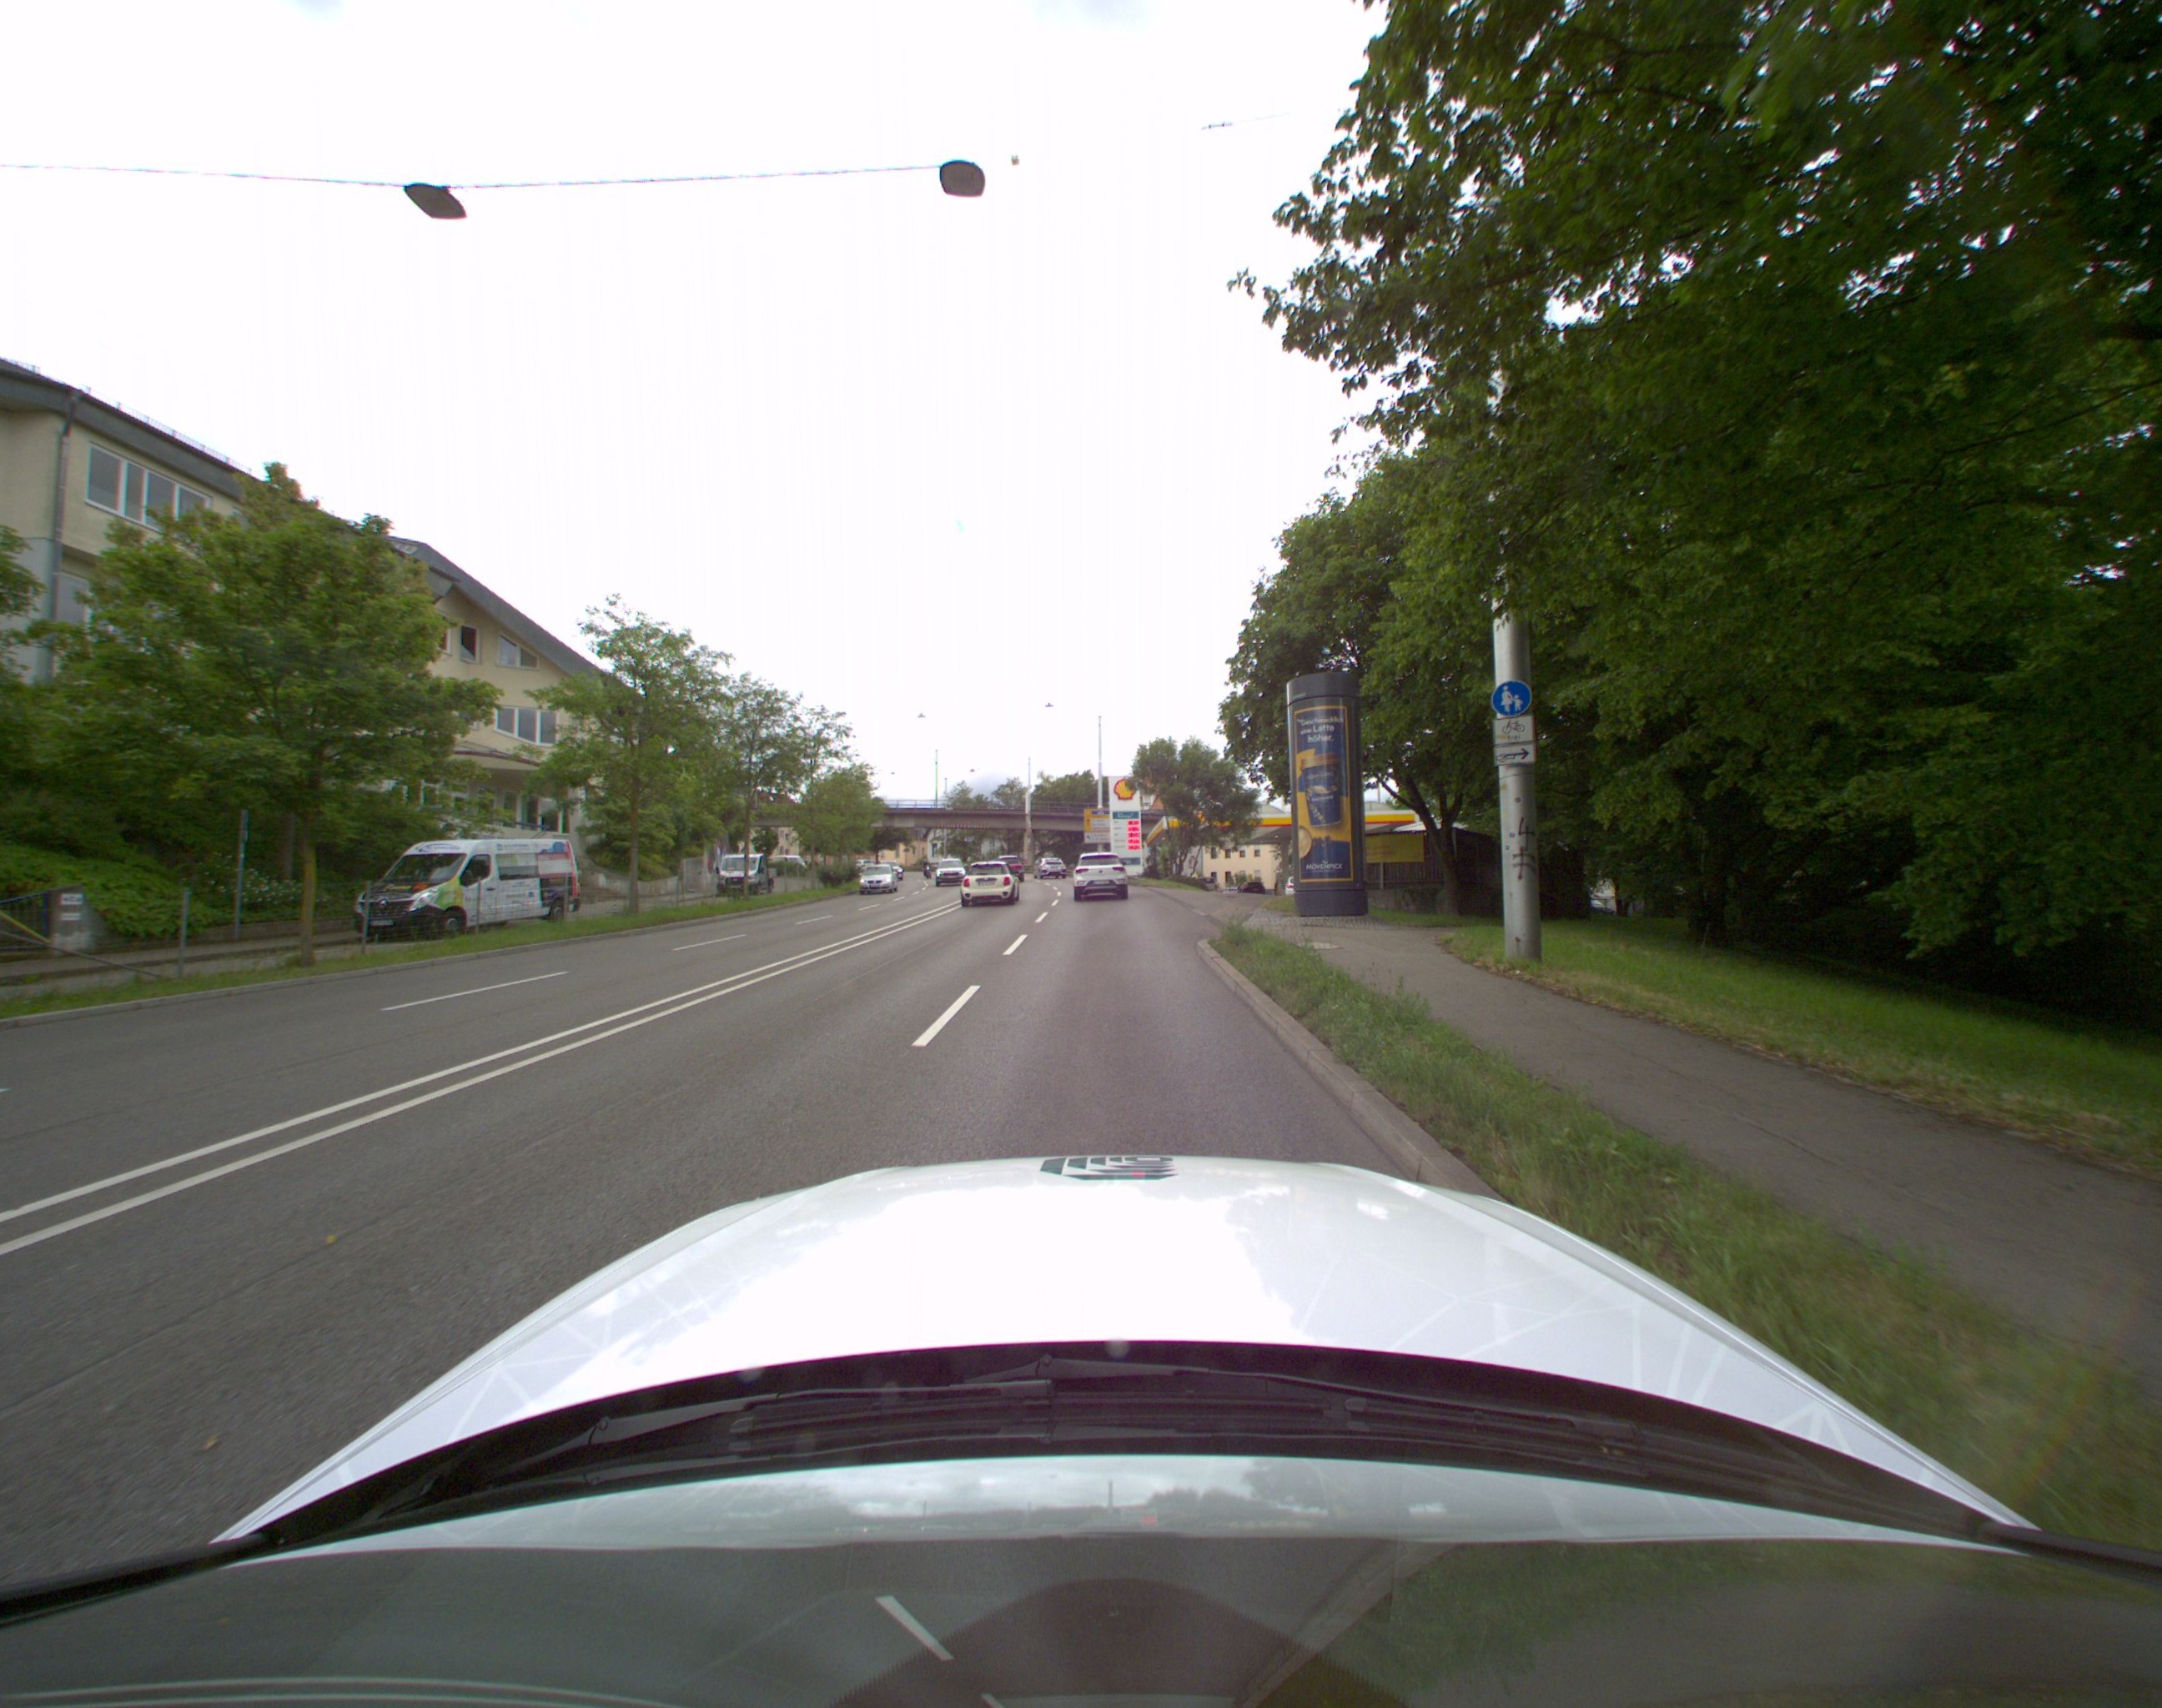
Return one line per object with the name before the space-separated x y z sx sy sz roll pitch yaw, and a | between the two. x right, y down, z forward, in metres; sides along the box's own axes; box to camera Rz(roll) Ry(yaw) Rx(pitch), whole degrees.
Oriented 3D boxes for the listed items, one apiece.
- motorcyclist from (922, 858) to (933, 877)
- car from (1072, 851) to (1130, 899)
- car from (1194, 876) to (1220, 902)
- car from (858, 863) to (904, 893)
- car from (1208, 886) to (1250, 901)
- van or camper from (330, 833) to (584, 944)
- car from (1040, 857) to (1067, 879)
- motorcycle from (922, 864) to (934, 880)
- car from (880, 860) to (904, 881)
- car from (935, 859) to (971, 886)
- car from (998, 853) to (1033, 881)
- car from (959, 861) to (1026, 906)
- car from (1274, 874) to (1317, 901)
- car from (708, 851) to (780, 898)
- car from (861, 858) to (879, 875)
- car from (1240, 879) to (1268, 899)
motorcyclist | -12.617 1.129 66.952 0.803 1.556 0.994 -1 0 -19
car | 0.690 0.681 27.513 1.790 1.519 3.458 -1 0 2
car | 10.551 2.959 68.579 1.728 2.011 4.716 -2 -4 4
car | -10.248 1.213 41.925 1.562 1.431 3.886 -1 0 -3
car | 16.609 4.442 91.405 4.249 1.522 1.634 1 -3 29
van or camper | -15.968 0.805 21.393 1.985 2.473 5.714 -2 -1 3
car | -1.916 0.936 55.635 1.673 1.409 3.450 -1 0 -5
motorcycle | -12.605 1.452 67.092 0.592 1.305 2.442 -1 0 -18
car | -15.400 1.309 66.168 1.788 1.575 4.445 -2 0 -15
car | -7.728 1.089 49.435 1.782 1.538 4.069 -2 0 -4
car | -4.020 0.797 50.467 1.716 1.640 3.458 -1 0 2
car | -2.888 0.932 27.147 1.716 1.376 3.458 -1 0 2
car | 12.978 2.072 49.438 1.728 1.486 3.880 -2 -4 4
car | -18.038 1.045 43.921 2.269 2.273 6.302 -2 -1 -11
car | -25.545 1.473 98.536 1.903 1.937 3.975 -1 0 -18
car | 14.676 3.000 69.349 1.728 1.486 3.880 -2 -4 4
